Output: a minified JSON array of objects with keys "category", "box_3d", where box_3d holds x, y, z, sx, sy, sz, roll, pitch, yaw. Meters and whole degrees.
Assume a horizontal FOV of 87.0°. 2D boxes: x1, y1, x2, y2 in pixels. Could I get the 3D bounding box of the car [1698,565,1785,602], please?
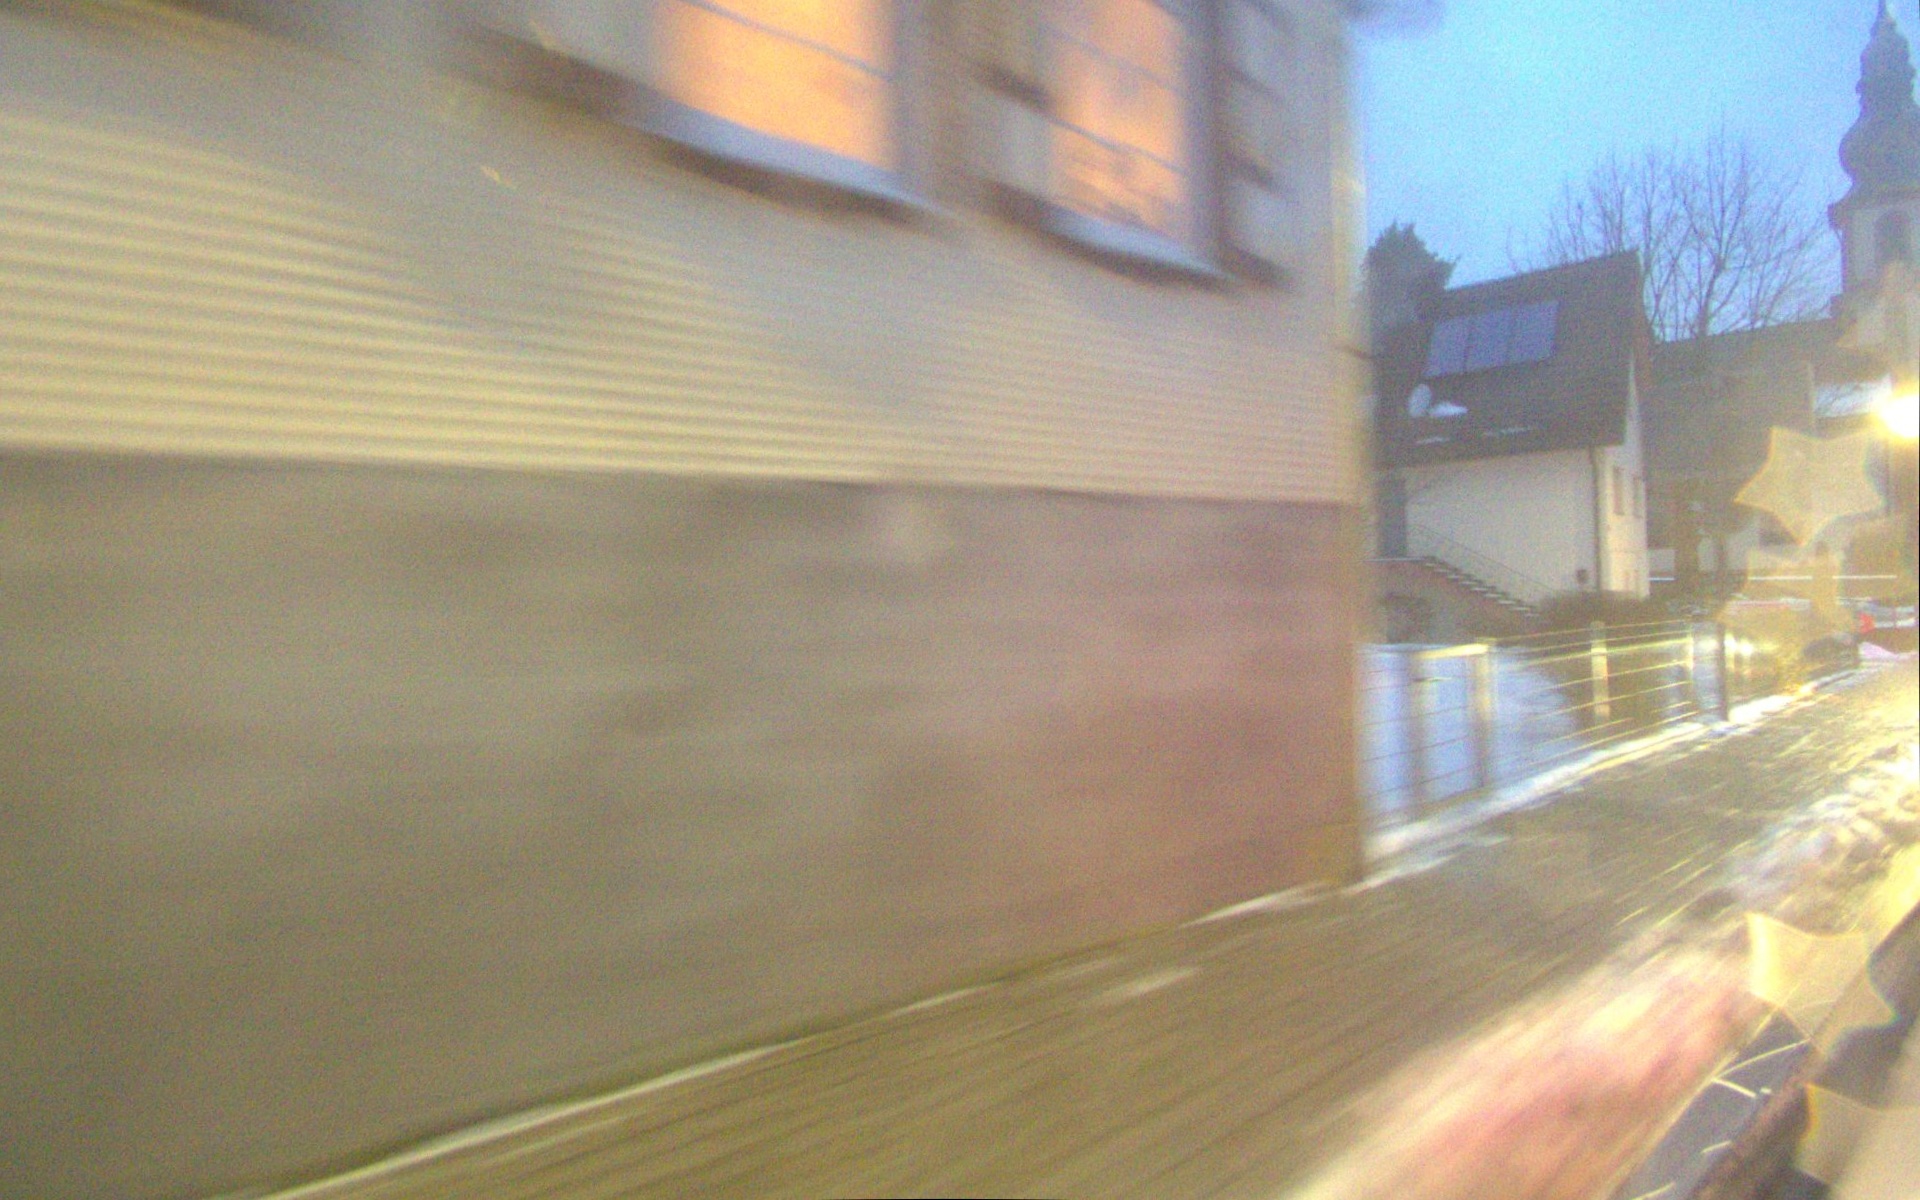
[{"category":"car","box_3d":[32.302,-0.670,41.964,1.735,1.430,4.052,-2,0,21]}]
